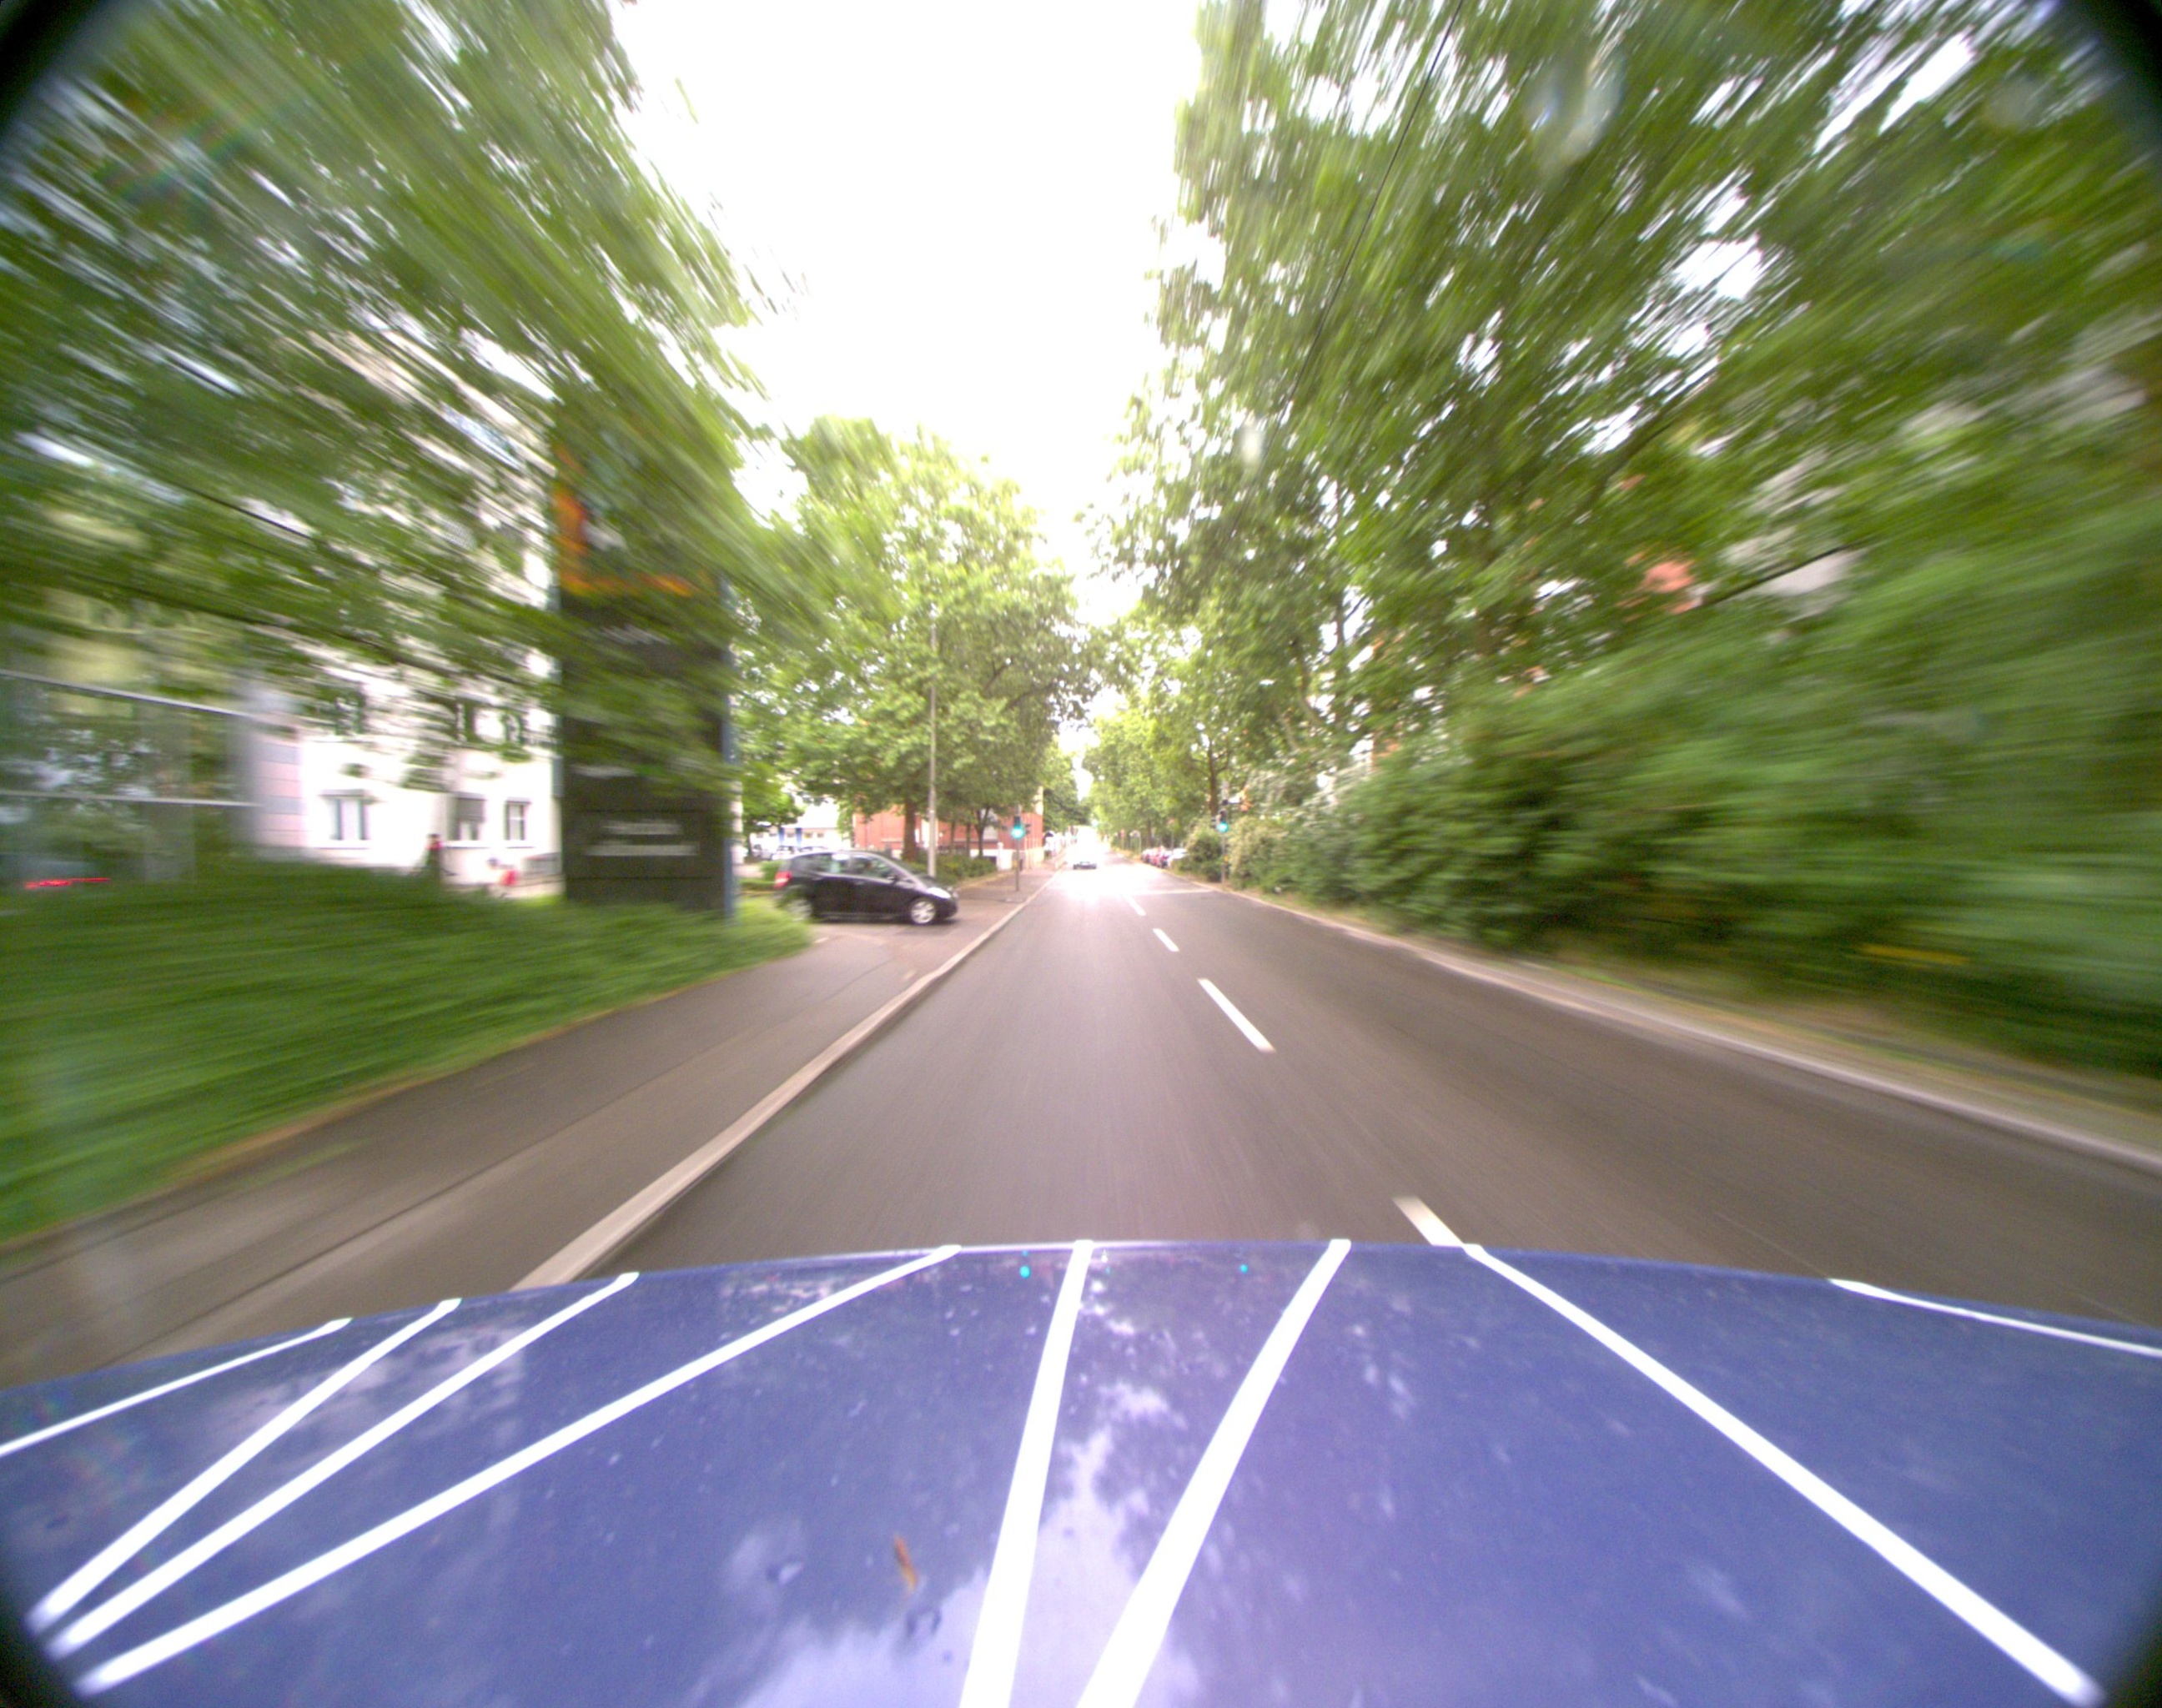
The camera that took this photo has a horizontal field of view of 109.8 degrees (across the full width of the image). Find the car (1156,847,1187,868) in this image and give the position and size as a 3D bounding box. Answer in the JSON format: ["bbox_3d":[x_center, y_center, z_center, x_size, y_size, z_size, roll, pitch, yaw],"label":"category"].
[{"bbox_3d":[6.764,0.212,57.141,1.721,1.459,4.232,-1,1,-1],"label":"car"}]

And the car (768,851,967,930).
[{"bbox_3d":[-4.508,0.763,16.594,3.860,1.538,2.025,1,1,-6],"label":"car"}]

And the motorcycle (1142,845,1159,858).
[{"bbox_3d":[7.226,-0.274,79.434,1.717,1.333,0.722,0,2,1],"label":"motorcycle"}]

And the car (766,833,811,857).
[{"bbox_3d":[-23.472,-0.763,61.092,1.913,1.808,3.996,-2,2,1],"label":"car"}]

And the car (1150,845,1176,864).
[{"bbox_3d":[6.846,0.040,63.819,1.721,1.459,3.754,-1,1,-1],"label":"car"}]

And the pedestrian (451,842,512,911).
[{"bbox_3d":[-16.210,0.584,20.562,0.831,1.817,0.960,0,1,4],"label":"pedestrian"}]

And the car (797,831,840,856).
[{"bbox_3d":[-21.180,-0.869,61.391,1.913,1.808,3.996,-2,2,1],"label":"car"}]

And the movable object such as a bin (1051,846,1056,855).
[{"bbox_3d":[-3.371,-0.458,92.480,0.506,1.109,0.618,0,2,1],"label":"movable object such as a bin"}]

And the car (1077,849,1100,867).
[{"bbox_3d":[0.574,0.280,59.847,1.692,1.334,3.998,0,1,-2],"label":"car"}]

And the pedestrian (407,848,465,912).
[{"bbox_3d":[-18.826,0.748,22.191,0.831,1.817,0.960,0,1,4],"label":"pedestrian"}]

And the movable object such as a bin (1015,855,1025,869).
[{"bbox_3d":[-4.255,0.544,52.882,0.592,0.927,0.572,1,1,0],"label":"movable object such as a bin"}]

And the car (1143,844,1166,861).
[{"bbox_3d":[7.150,-0.157,74.366,1.721,1.501,4.802,-1,1,-1],"label":"car"}]

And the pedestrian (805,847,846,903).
[{"bbox_3d":[-7.421,0.601,22.108,0.920,1.608,0.702,0,1,4],"label":"pedestrian"}]

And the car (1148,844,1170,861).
[{"bbox_3d":[7.057,-0.113,69.251,1.559,1.459,3.396,-1,1,-1],"label":"car"}]

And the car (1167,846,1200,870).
[{"bbox_3d":[6.834,0.260,50.866,1.721,1.459,4.309,-1,1,1],"label":"car"}]
